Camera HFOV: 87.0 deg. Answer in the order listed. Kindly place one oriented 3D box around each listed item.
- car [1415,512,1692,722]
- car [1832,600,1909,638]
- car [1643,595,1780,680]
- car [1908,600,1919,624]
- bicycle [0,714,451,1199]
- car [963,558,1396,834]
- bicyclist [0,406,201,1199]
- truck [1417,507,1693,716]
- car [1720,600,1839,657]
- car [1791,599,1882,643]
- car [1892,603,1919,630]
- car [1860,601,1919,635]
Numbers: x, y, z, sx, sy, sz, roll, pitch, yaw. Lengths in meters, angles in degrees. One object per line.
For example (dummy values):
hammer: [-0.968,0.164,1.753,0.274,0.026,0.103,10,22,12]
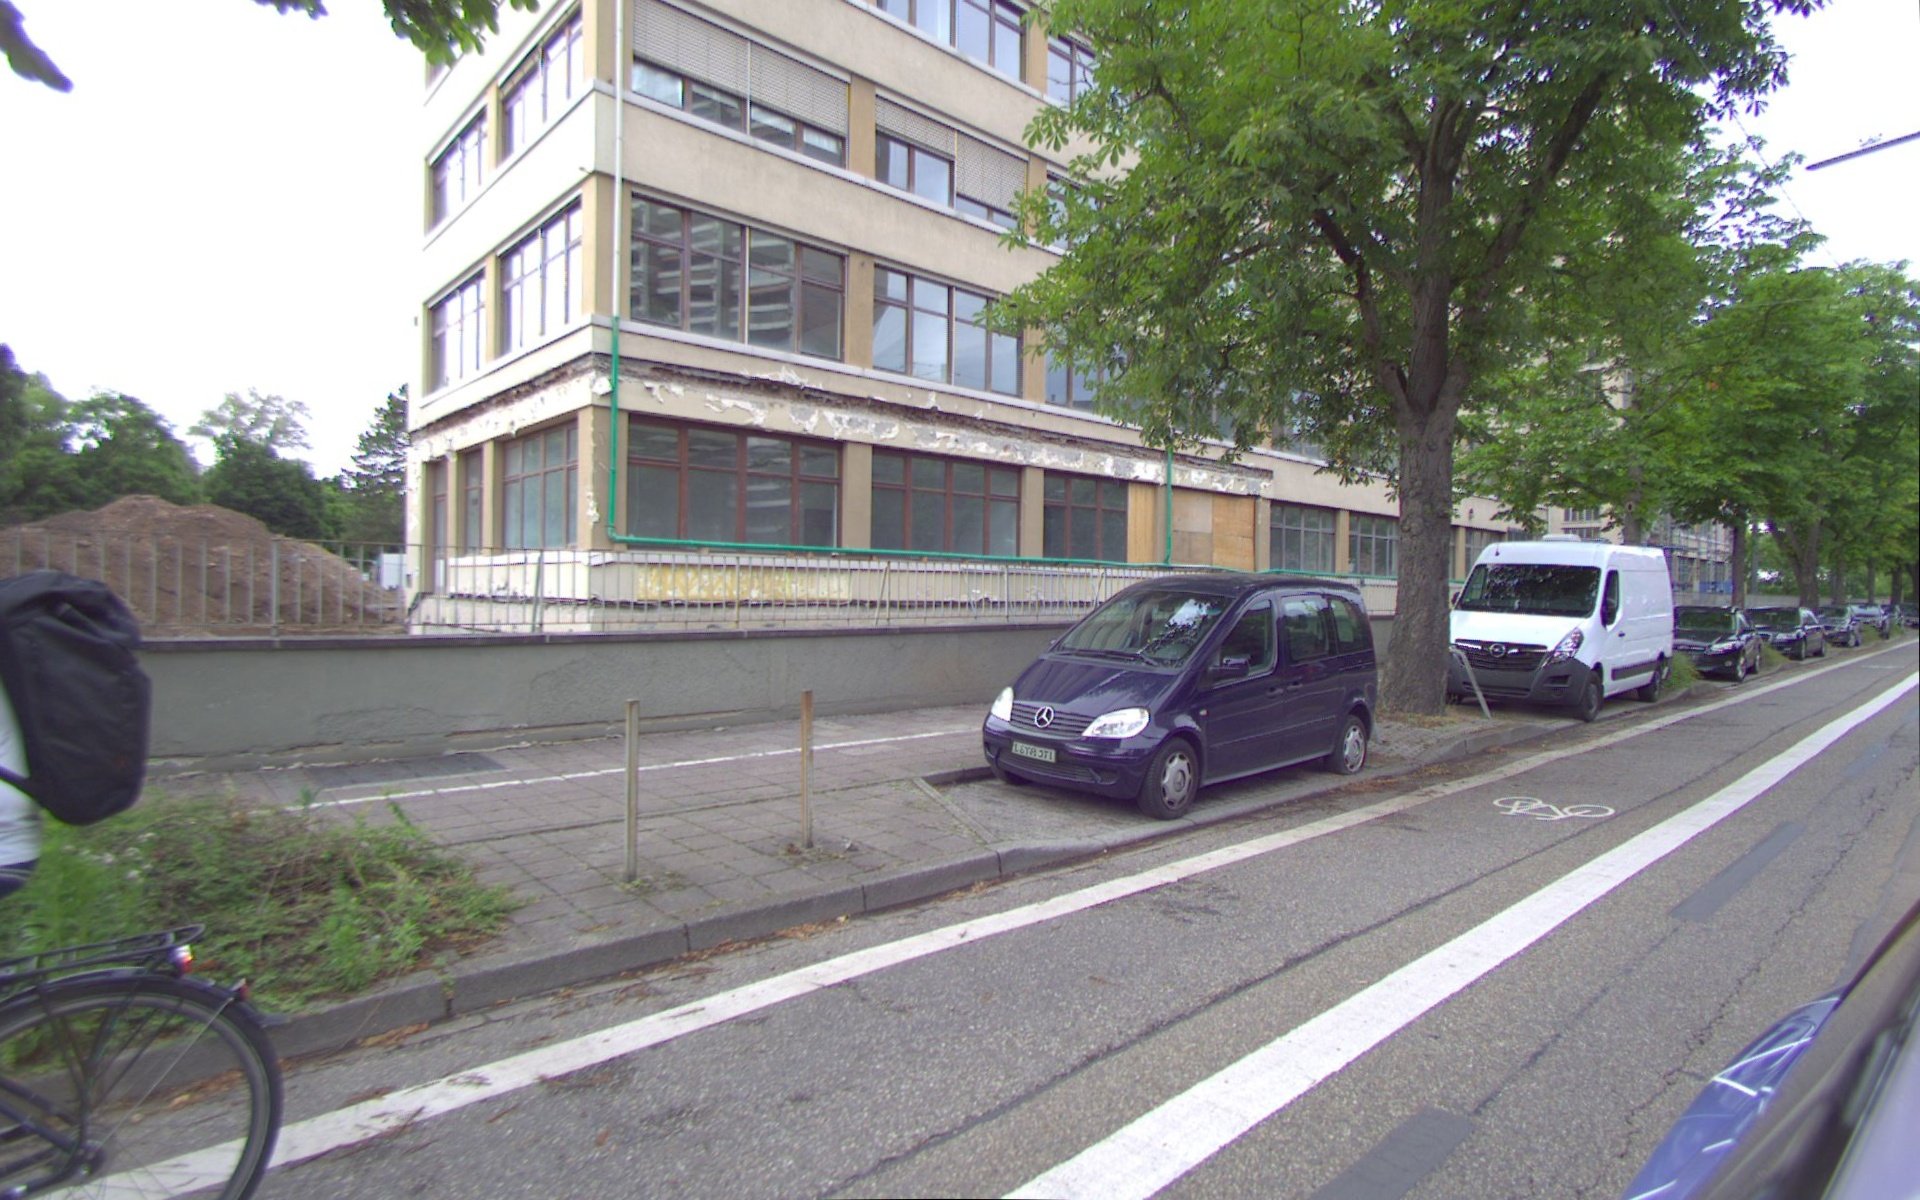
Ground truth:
car: [9.116,0.206,15.308,5.398,2.635,2.115,0,0,-42]
car: [37.905,0.739,42.098,4.319,1.479,1.996,0,0,-43]
car: [16.062,0.714,21.558,1.821,1.518,4.041,3,3,44]
car: [62.739,0.761,65.322,4.319,1.479,1.996,0,0,-43]
bicycle: [-2.019,0.865,1.852,1.835,1.131,0.665,1,-2,-43]
car: [2.051,0.610,8.702,4.016,1.835,1.655,-1,0,-43]
bicyclist: [-2.029,0.460,1.844,0.969,1.589,0.662,0,-1,-43]
truck: [9.154,0.144,15.341,5.398,2.635,2.115,0,0,-42]
car: [22.827,0.729,28.150,4.319,1.479,1.996,0,0,-43]
car: [31.137,0.706,35.912,4.319,1.479,1.996,0,0,-43]
car: [54.420,0.893,57.389,4.319,1.479,1.996,0,0,-43]
car: [43.770,0.808,47.405,4.319,1.479,1.996,0,0,-43]
